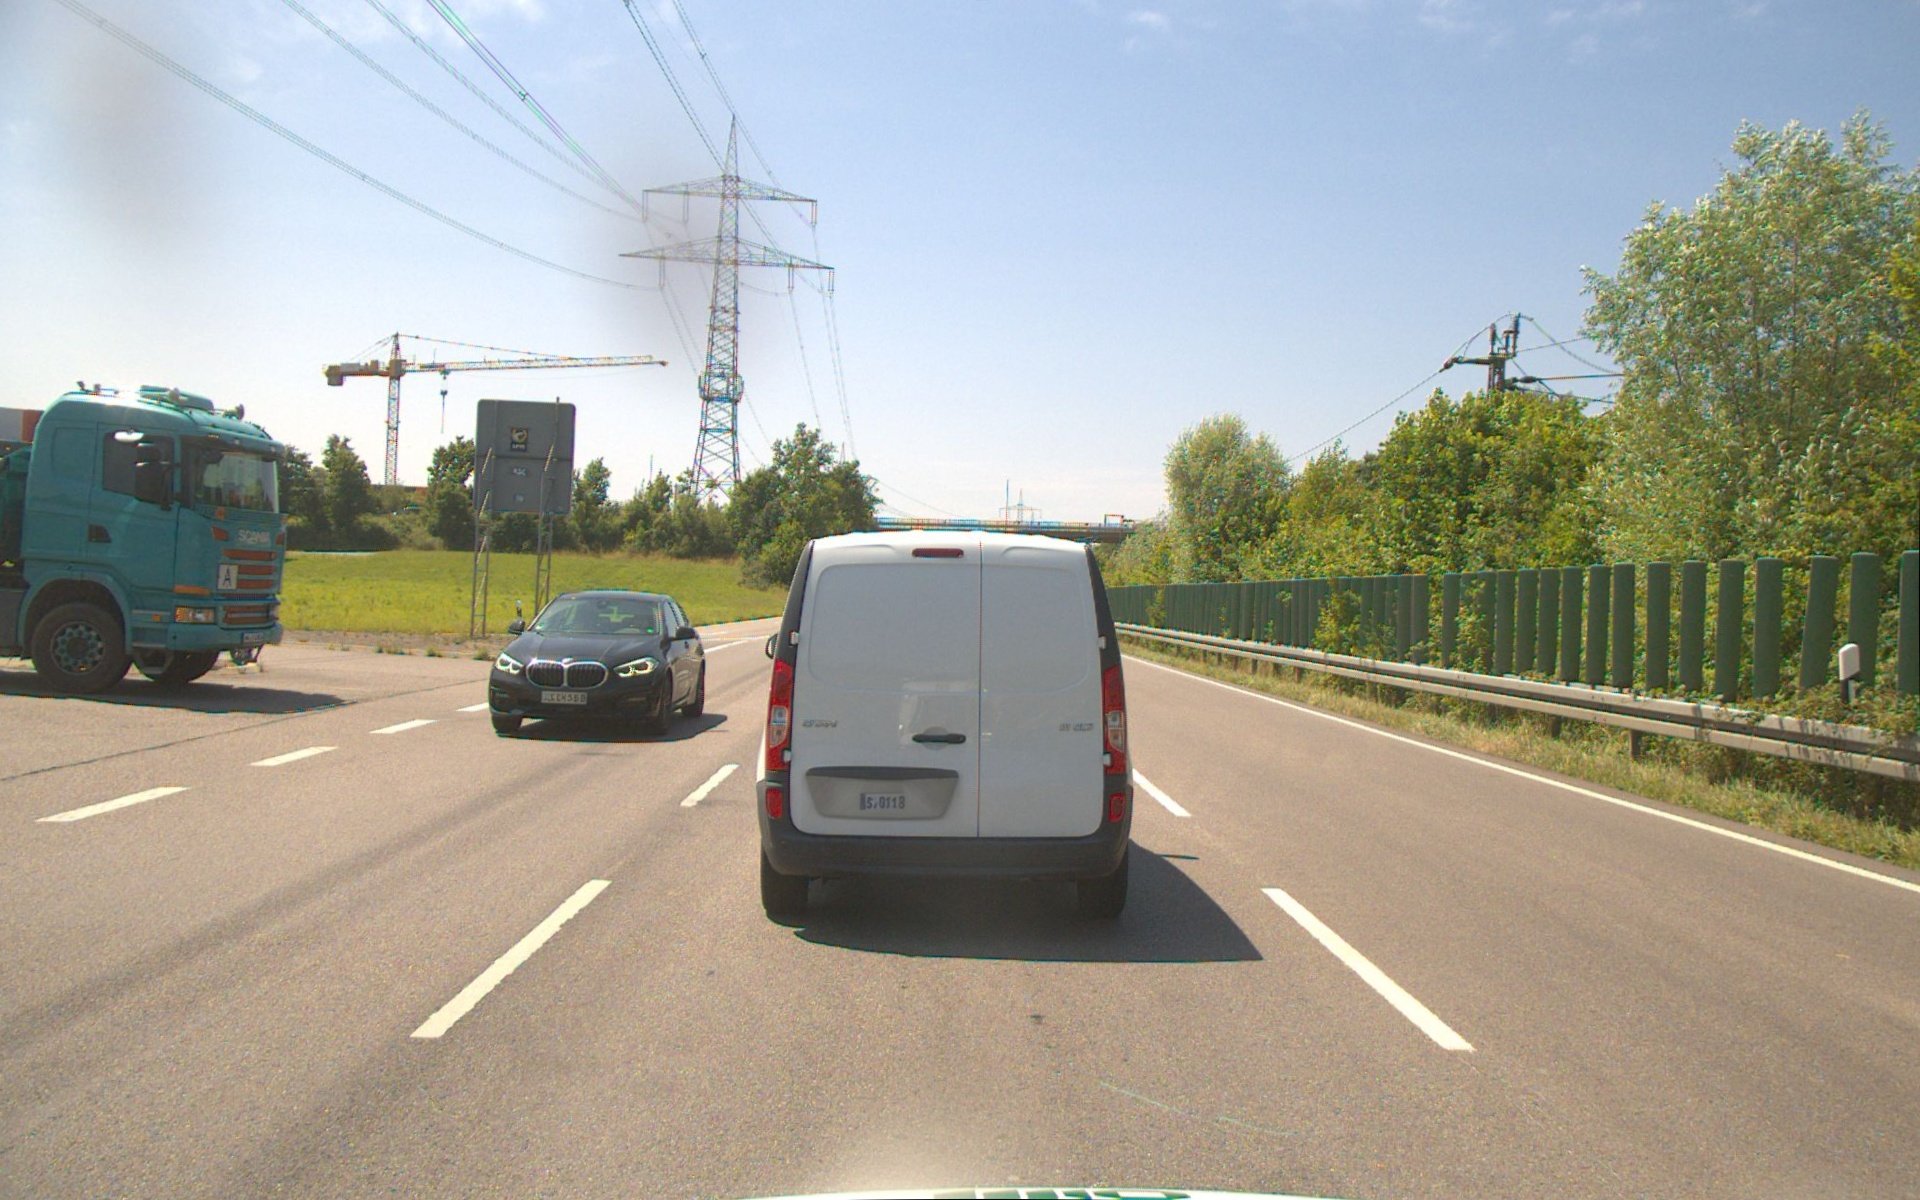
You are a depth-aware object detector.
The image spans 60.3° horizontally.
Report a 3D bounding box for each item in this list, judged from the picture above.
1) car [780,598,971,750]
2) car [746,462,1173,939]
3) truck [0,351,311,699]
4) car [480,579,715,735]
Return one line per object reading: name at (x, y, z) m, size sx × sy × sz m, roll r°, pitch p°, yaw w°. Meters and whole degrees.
car at (-0.926, 0.727, 18.500) m, size 1.819 × 1.421 × 4.651 m, roll 2°, pitch 0°, yaw -3°
car at (-0.047, 0.422, 9.034) m, size 1.790 × 2.005 × 3.999 m, roll 1°, pitch 0°, yaw -1°
truck at (-12.364, -1.026, 20.122) m, size 7.742 × 3.799 × 2.498 m, roll 4°, pitch 0°, yaw 1°
car at (-3.861, 0.558, 18.265) m, size 1.746 × 1.489 × 3.999 m, roll 2°, pitch 0°, yaw -1°
